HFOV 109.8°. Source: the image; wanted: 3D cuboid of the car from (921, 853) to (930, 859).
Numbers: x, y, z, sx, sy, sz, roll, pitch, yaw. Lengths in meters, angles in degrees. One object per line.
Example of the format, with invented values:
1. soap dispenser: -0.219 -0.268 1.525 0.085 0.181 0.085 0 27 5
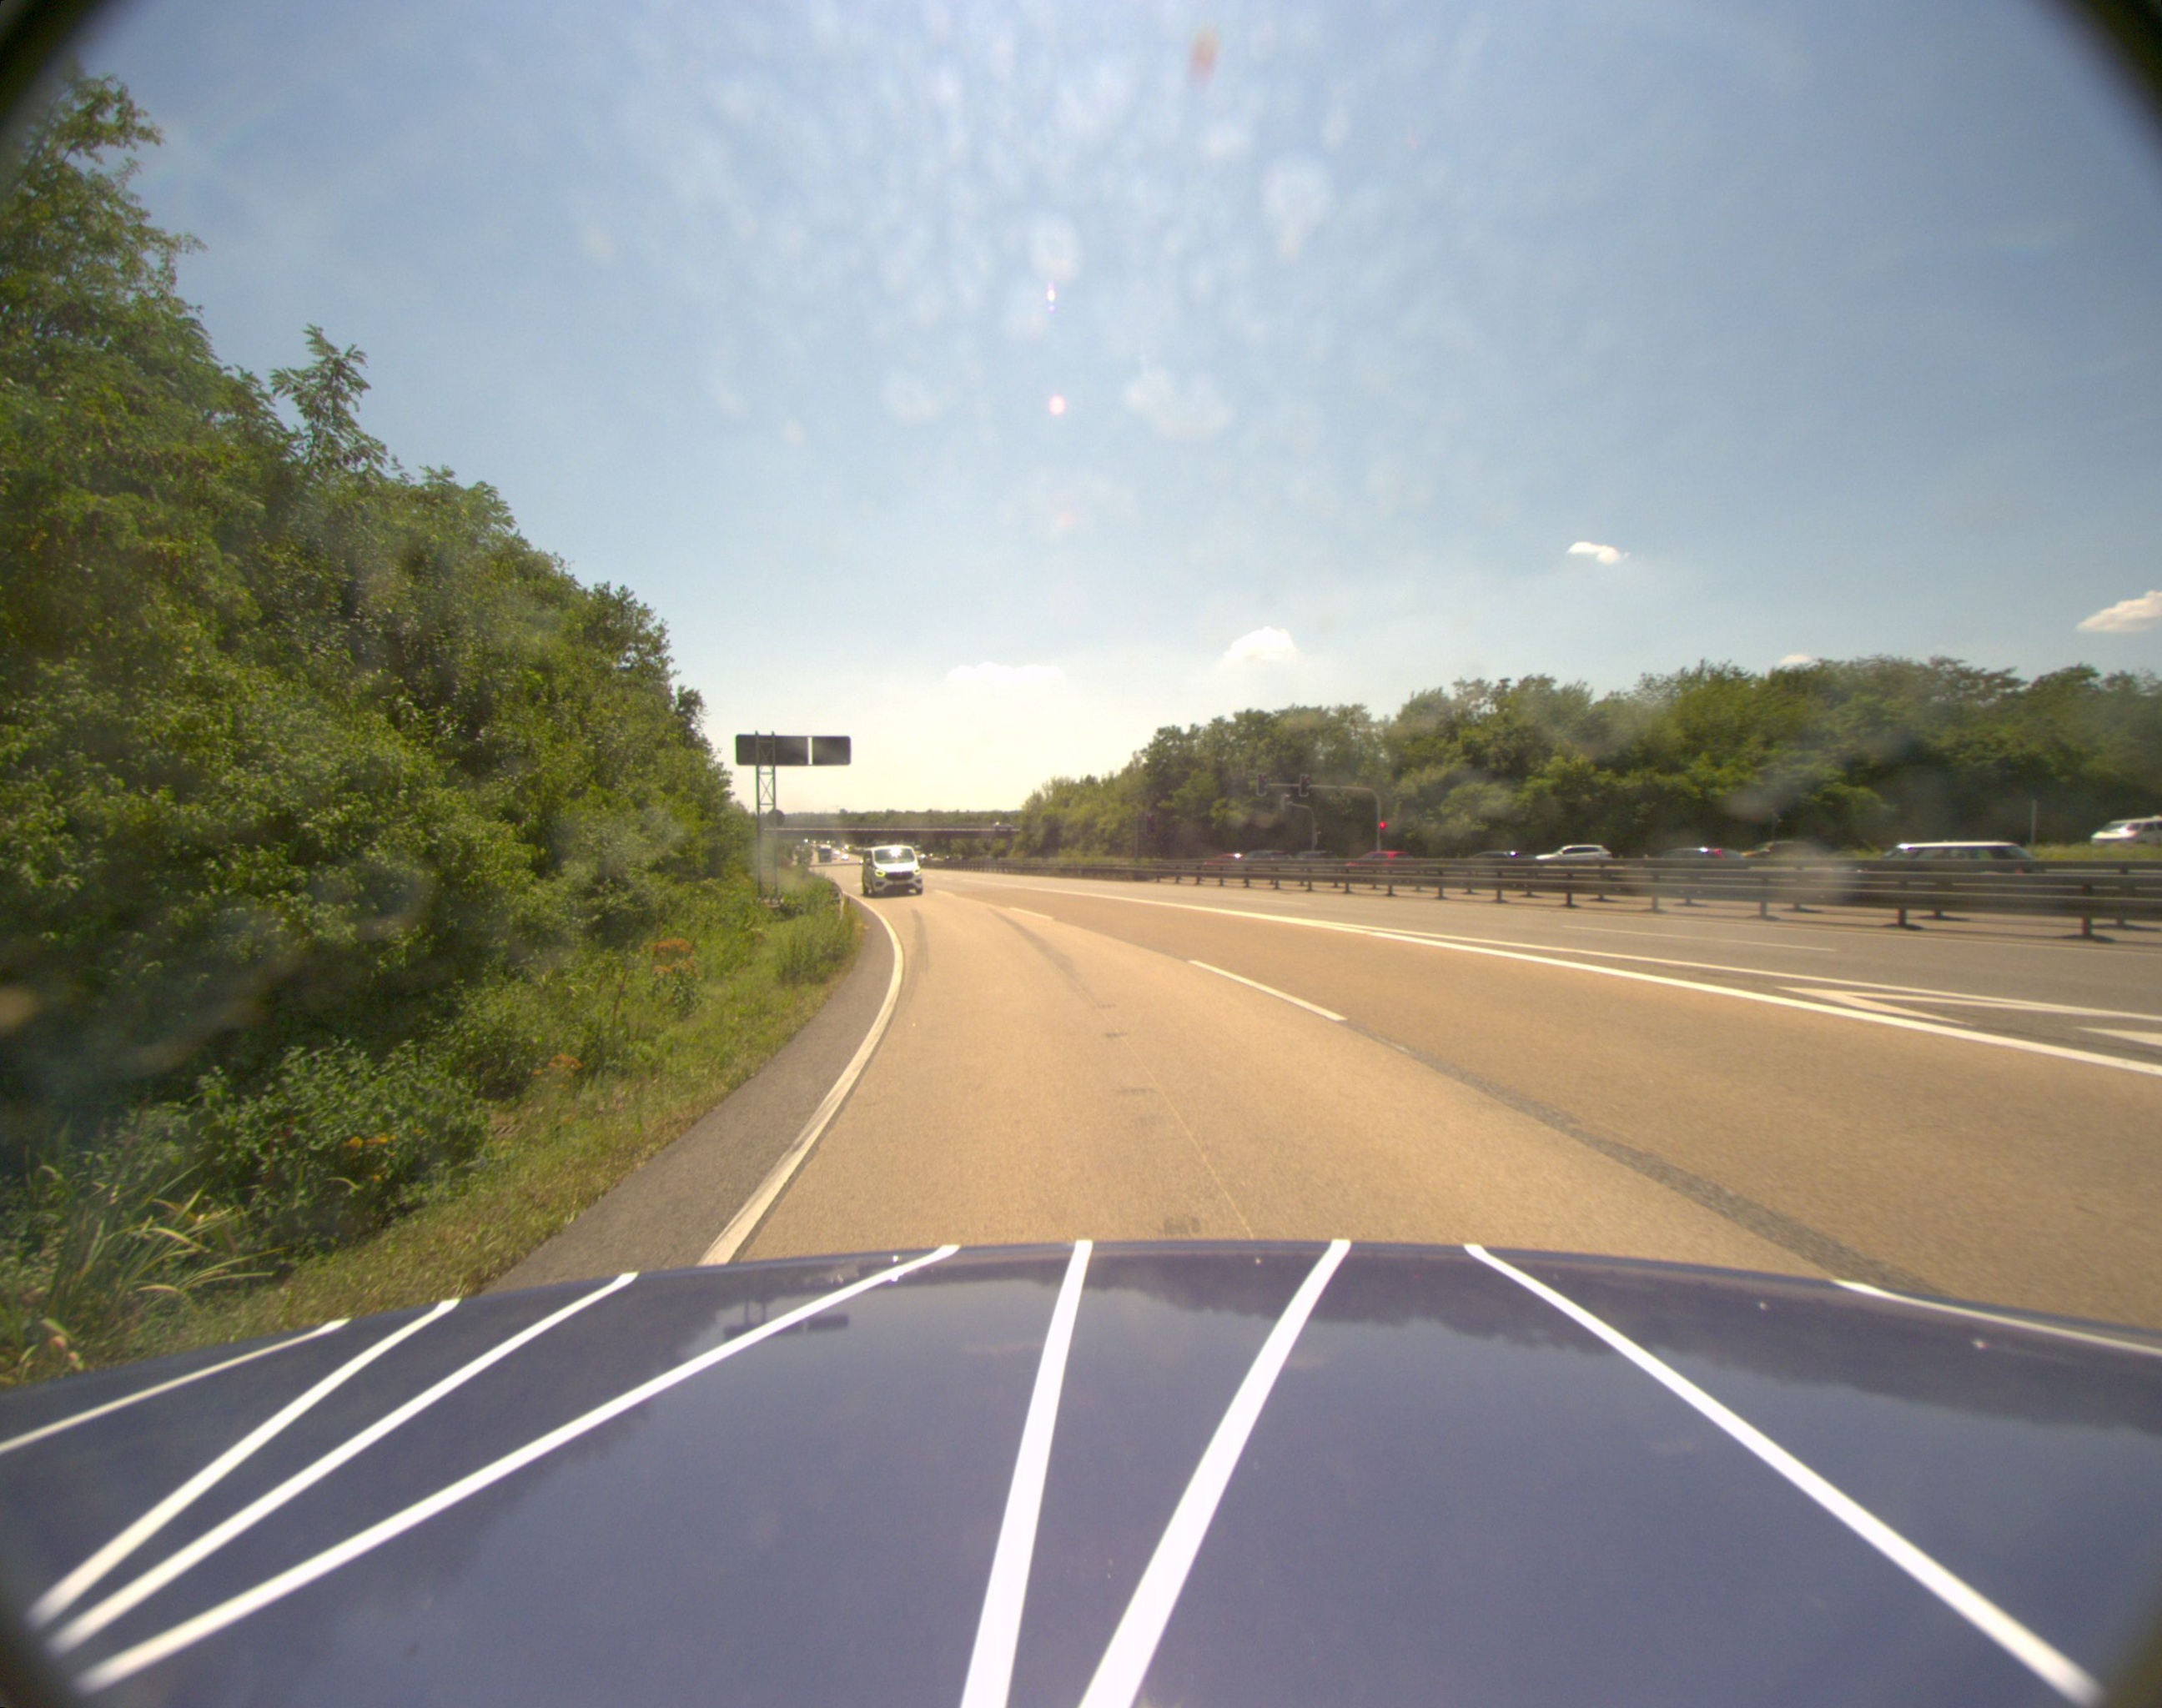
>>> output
1. car: -40.980 0.498 200.259 1.760 1.516 4.465 -2 0 -19

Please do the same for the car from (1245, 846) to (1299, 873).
1. car: 9.317 0.269 37.227 1.158 1.229 2.723 -2 1 -21

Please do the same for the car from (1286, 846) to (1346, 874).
1. car: 12.062 0.292 39.105 1.346 1.341 3.011 -2 1 -21

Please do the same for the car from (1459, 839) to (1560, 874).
1. car: 18.615 0.113 33.161 1.656 1.385 3.565 -2 0 -21

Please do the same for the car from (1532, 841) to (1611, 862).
1. car: 30.813 -0.187 47.858 3.936 1.215 1.712 -1 1 24

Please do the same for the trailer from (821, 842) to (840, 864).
1. trailer: -60.421 -0.301 183.228 3.975 4.923 15.976 -2 0 -18

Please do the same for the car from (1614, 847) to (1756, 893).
1. car: 21.251 0.531 26.899 1.489 1.441 3.661 -2 1 -21

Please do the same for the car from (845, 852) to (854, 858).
1. car: -60.724 0.263 199.461 2.001 1.420 3.994 -2 1 -15

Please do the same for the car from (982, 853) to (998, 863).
1. car: -14.868 0.654 124.115 1.720 1.559 3.993 -2 0 -21

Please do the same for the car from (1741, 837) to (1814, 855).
1. car: 45.785 -0.530 50.009 3.170 1.142 1.632 -1 1 13

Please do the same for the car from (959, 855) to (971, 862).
1. car: -24.882 0.890 162.955 1.656 1.402 4.466 -2 0 -18

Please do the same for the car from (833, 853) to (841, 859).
1. car: -70.872 0.672 220.814 2.001 1.622 4.466 -2 0 -17

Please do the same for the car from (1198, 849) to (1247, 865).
1. car: 11.169 0.229 59.963 3.360 1.215 1.713 -1 1 36

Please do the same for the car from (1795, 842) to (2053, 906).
1. car: 20.201 0.428 18.444 1.521 1.340 3.915 -2 0 -21

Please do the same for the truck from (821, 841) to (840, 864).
1. truck: -57.919 -0.352 175.692 3.990 4.923 6.220 -2 1 -18

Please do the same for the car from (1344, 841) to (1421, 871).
1. car: 15.858 0.113 40.160 1.569 1.441 3.697 -2 1 -25

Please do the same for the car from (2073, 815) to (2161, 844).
1. car: 63.859 -1.495 46.020 5.110 1.631 2.017 -1 0 -3

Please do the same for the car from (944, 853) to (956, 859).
1. car: -32.148 0.527 186.779 2.135 1.502 4.465 -2 0 -19

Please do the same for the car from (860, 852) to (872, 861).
1. car: -39.094 0.489 138.212 2.001 1.622 4.466 -2 0 -17

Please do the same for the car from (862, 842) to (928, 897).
1. car: -7.860 0.602 31.710 2.065 2.002 5.033 -4 1 -20
